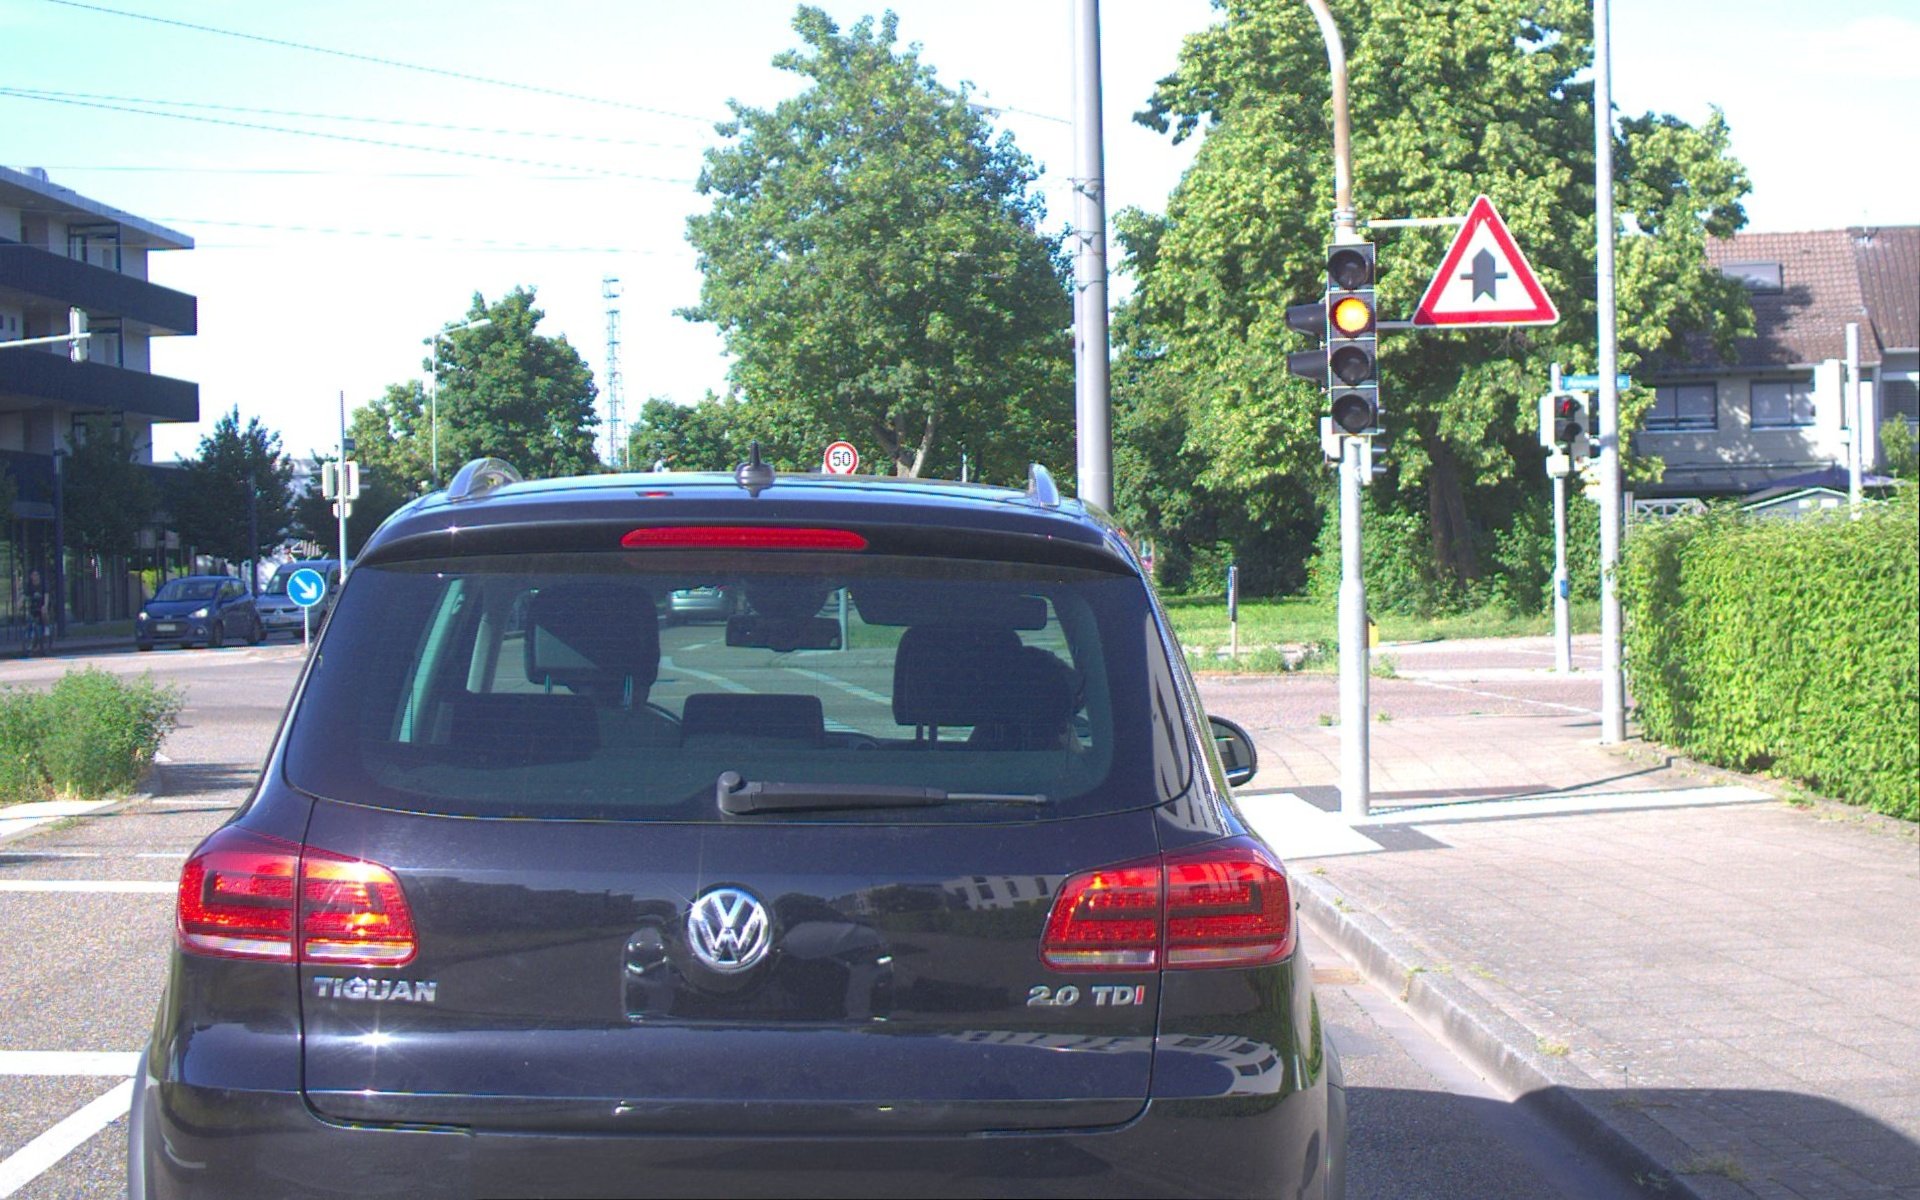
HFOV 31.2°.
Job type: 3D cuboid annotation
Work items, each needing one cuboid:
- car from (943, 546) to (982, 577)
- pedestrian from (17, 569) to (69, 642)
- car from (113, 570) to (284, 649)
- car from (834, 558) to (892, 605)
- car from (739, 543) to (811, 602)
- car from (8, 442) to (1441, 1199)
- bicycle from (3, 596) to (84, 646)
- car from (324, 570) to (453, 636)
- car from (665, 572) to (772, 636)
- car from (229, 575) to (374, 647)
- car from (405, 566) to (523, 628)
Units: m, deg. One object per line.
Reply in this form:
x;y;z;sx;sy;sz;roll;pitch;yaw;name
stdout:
0.101;-2.104;188.734;1.993;1.678;4.000;1;1;-2;car
-18.796;0.111;70.469;0.711;1.468;0.953;1;0;7;pedestrian
-15.775;0.172;71.471;1.994;1.569;4.337;1;1;9;car
-3.812;-0.742;136.026;1.994;1.830;4.000;1;1;3;car
-5.570;-0.845;103.601;1.864;1.714;3.687;-1;1;1;car
-0.335;0.601;6.521;1.869;1.632;4.000;1;1;-1;car
-18.796;0.418;70.547;0.771;0.986;2.431;1;1;7;bicycle
-14.116;0.051;85.184;1.994;1.569;4.338;1;1;7;car
-5.984;0.076;85.554;1.864;1.480;4.109;-1;1;7;car
-14.992;0.231;78.462;1.994;1.569;4.338;1;1;7;car
-13.110;-0.096;91.078;1.994;1.569;4.338;1;1;7;car
